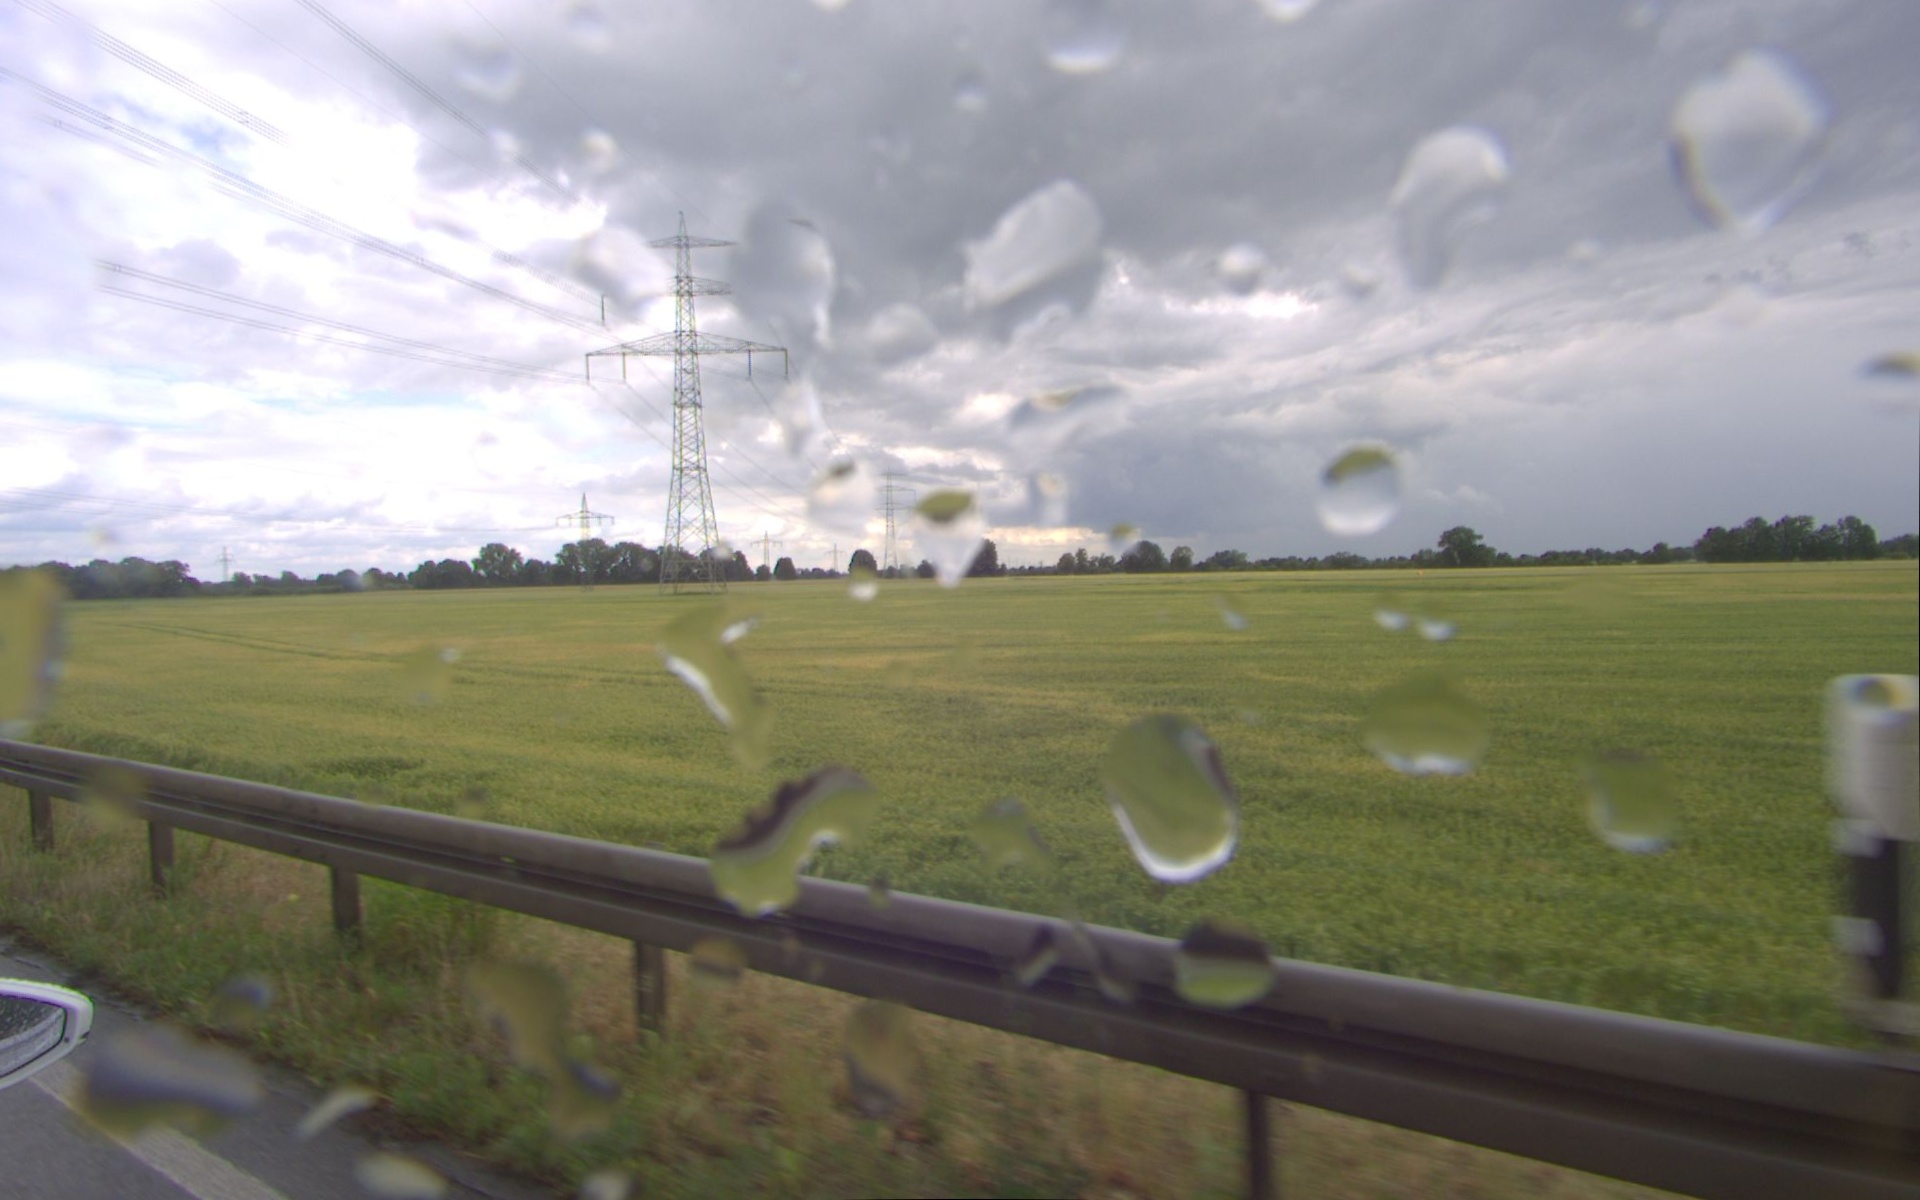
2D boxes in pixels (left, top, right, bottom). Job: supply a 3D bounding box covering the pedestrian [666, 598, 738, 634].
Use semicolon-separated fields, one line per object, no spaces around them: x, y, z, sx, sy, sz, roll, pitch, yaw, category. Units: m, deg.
-15.211;0.948;59.042;3.942;2.039;1.991;-1;-2;31;pedestrian
